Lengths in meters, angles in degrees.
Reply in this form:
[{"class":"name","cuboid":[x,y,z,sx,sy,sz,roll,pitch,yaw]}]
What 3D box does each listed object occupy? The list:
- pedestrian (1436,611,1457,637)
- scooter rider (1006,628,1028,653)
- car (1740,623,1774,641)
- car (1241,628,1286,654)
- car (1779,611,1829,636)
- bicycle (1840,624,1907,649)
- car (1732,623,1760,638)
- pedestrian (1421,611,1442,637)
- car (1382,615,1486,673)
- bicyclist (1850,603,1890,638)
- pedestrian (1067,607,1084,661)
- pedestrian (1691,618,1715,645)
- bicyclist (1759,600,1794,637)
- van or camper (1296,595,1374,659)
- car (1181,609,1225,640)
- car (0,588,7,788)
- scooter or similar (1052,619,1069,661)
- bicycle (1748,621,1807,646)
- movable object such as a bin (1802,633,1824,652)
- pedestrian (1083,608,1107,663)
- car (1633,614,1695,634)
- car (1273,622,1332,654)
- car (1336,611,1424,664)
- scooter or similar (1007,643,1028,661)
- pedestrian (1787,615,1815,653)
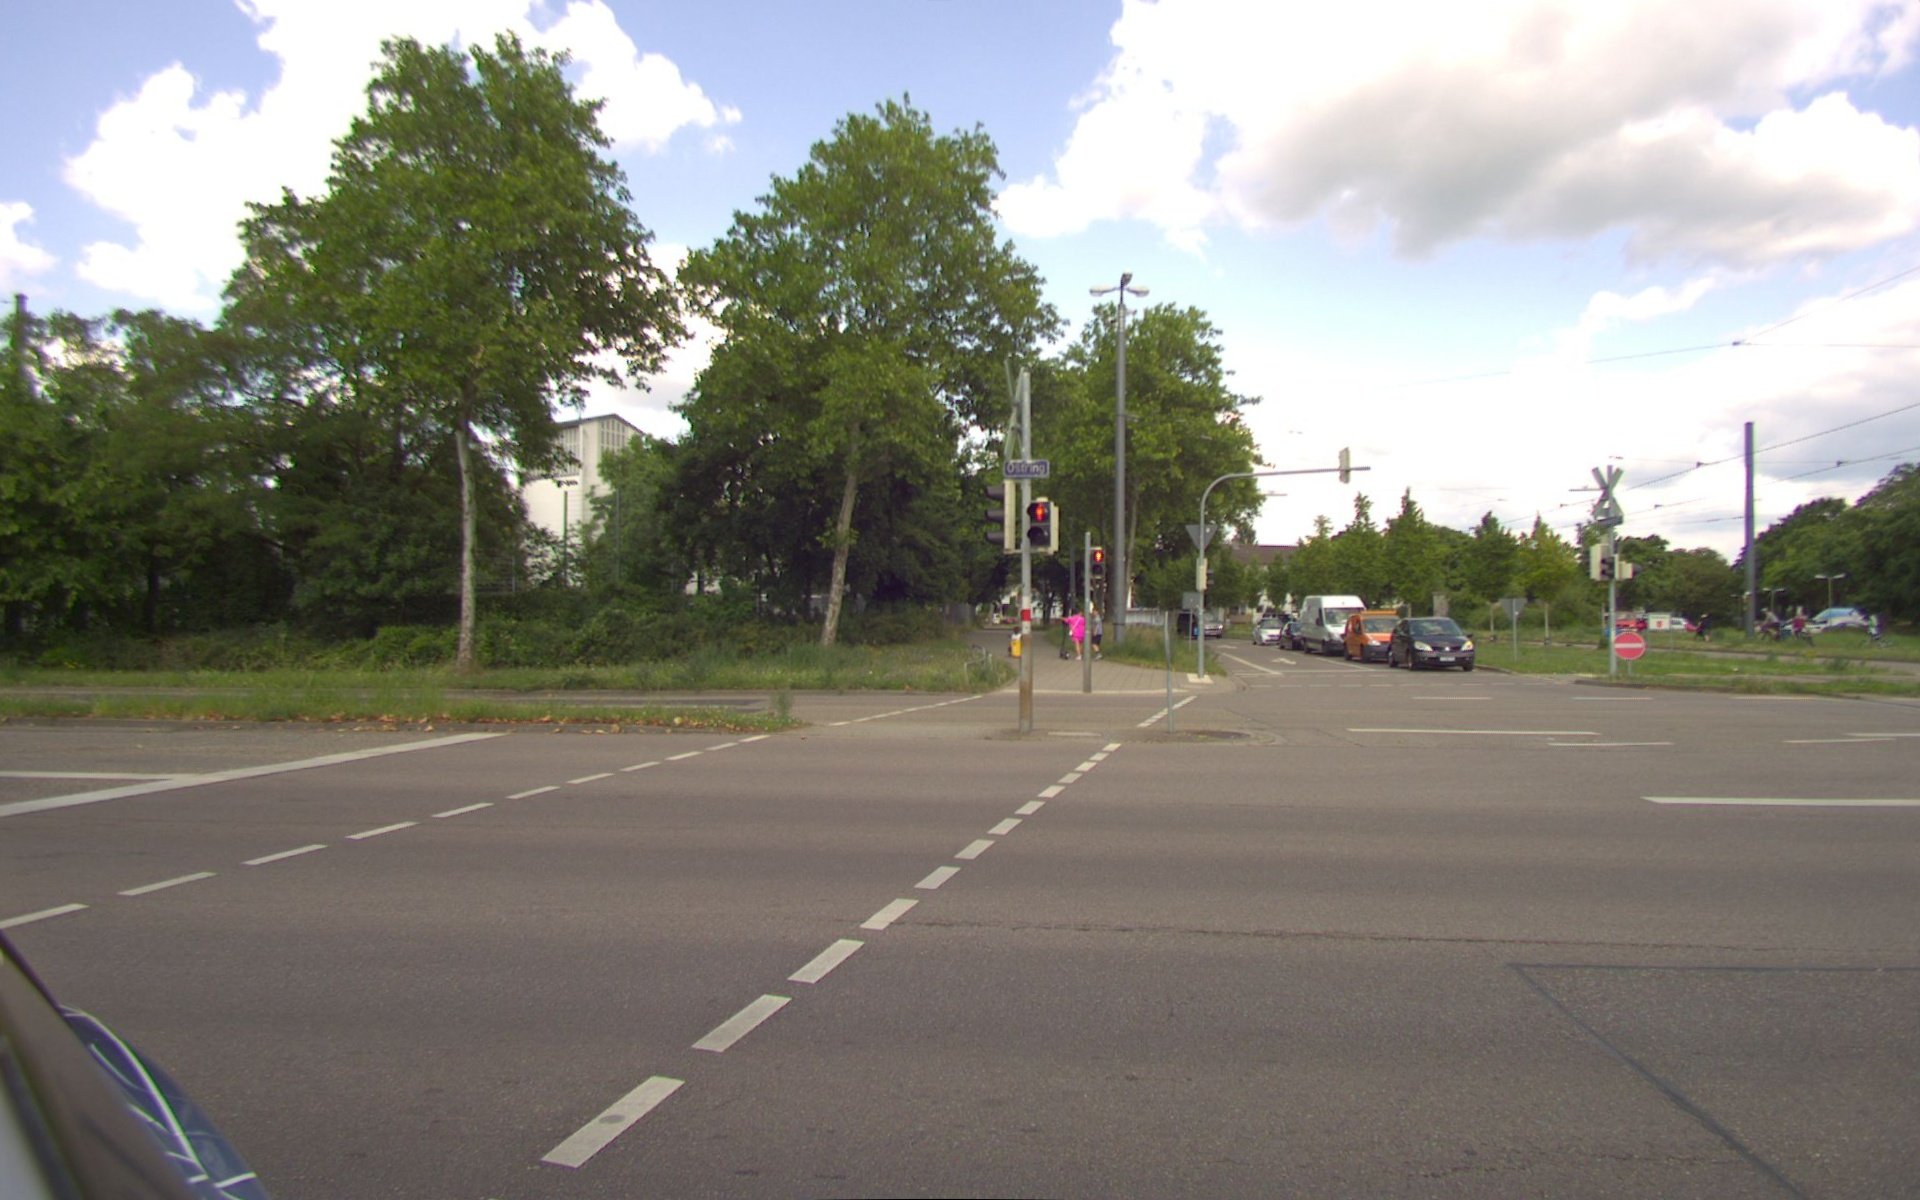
[{"class":"pedestrian","cuboid":[38.272,1.889,79.635,1.091,2.029,1.177,0,-1,0]},{"class":"scooter rider","cuboid":[1.747,1.229,30.955,0.604,0.734,0.858,-2,-2,5]},{"class":"car","cuboid":[74.514,2.963,94.694,1.994,1.652,4.342,-1,-2,32]},{"class":"car","cuboid":[17.452,2.331,58.353,1.790,1.442,4.372,0,-1,7]},{"class":"car","cuboid":[57.115,1.594,68.569,1.994,1.652,4.342,-1,-1,32]},{"class":"bicycle","cuboid":[39.330,1.546,43.616,0.936,1.048,1.987,0,-1,-8]},{"class":"car","cuboid":[86.468,3.361,111.406,1.994,1.652,4.342,-1,-2,32]},{"class":"pedestrian","cuboid":[37.120,1.876,79.664,1.091,2.029,1.176,0,-1,1]},{"class":"car","cuboid":[14.239,1.288,30.643,1.716,1.643,4.042,0,-1,8]},{"class":"bicyclist","cuboid":[39.313,0.900,43.721,0.948,1.500,0.837,0,-1,-7]},{"class":"pedestrian","cuboid":[3.493,1.026,30.556,0.418,1.631,0.593,-1,-1,15]},{"class":"pedestrian","cuboid":[39.204,1.656,53.396,0.643,1.364,0.750,-2,-2,7]},{"class":"bicyclist","cuboid":[38.667,0.899,47.947,0.947,1.735,0.838,0,-1,-14]},{"class":"van or camper","cuboid":[16.026,1.145,43.581,1.960,2.543,6.020,0,-1,9]},{"class":"car","cuboid":[17.531,1.751,73.159,1.828,2.172,4.386,0,-1,-4]},{"class":"car","cuboid":[-10.291,0.752,7.774,4.447,1.664,1.927,0,0,7]},{"class":"scooter or similar","cuboid":[3.059,1.215,30.727,0.319,1.241,0.771,-3,-2,17]},{"class":"bicycle","cuboid":[38.669,1.571,47.925,0.936,1.163,1.989,0,-1,-14]},{"class":"movable object such as a bin","cuboid":[37.696,1.895,44.730,0.570,0.817,0.460,-2,-2,-7]},{"class":"pedestrian","cuboid":[4.044,1.050,30.334,0.627,1.631,0.607,-1,-1,16]},{"class":"car","cuboid":[56.982,1.961,81.962,3.988,1.541,1.978,-1,-2,33]},{"class":"car","cuboid":[16.826,1.848,49.967,1.789,1.442,4.461,0,-1,6]},{"class":"car","cuboid":[15.117,1.328,36.673,1.862,1.813,4.359,0,-1,8]},{"class":"scooter or similar","cuboid":[1.769,1.588,30.946,0.603,0.515,0.856,-2,-2,4]},{"class":"pedestrian","cuboid":[37.618,1.502,45.266,0.603,1.657,0.639,-2,-2,-7]}]
